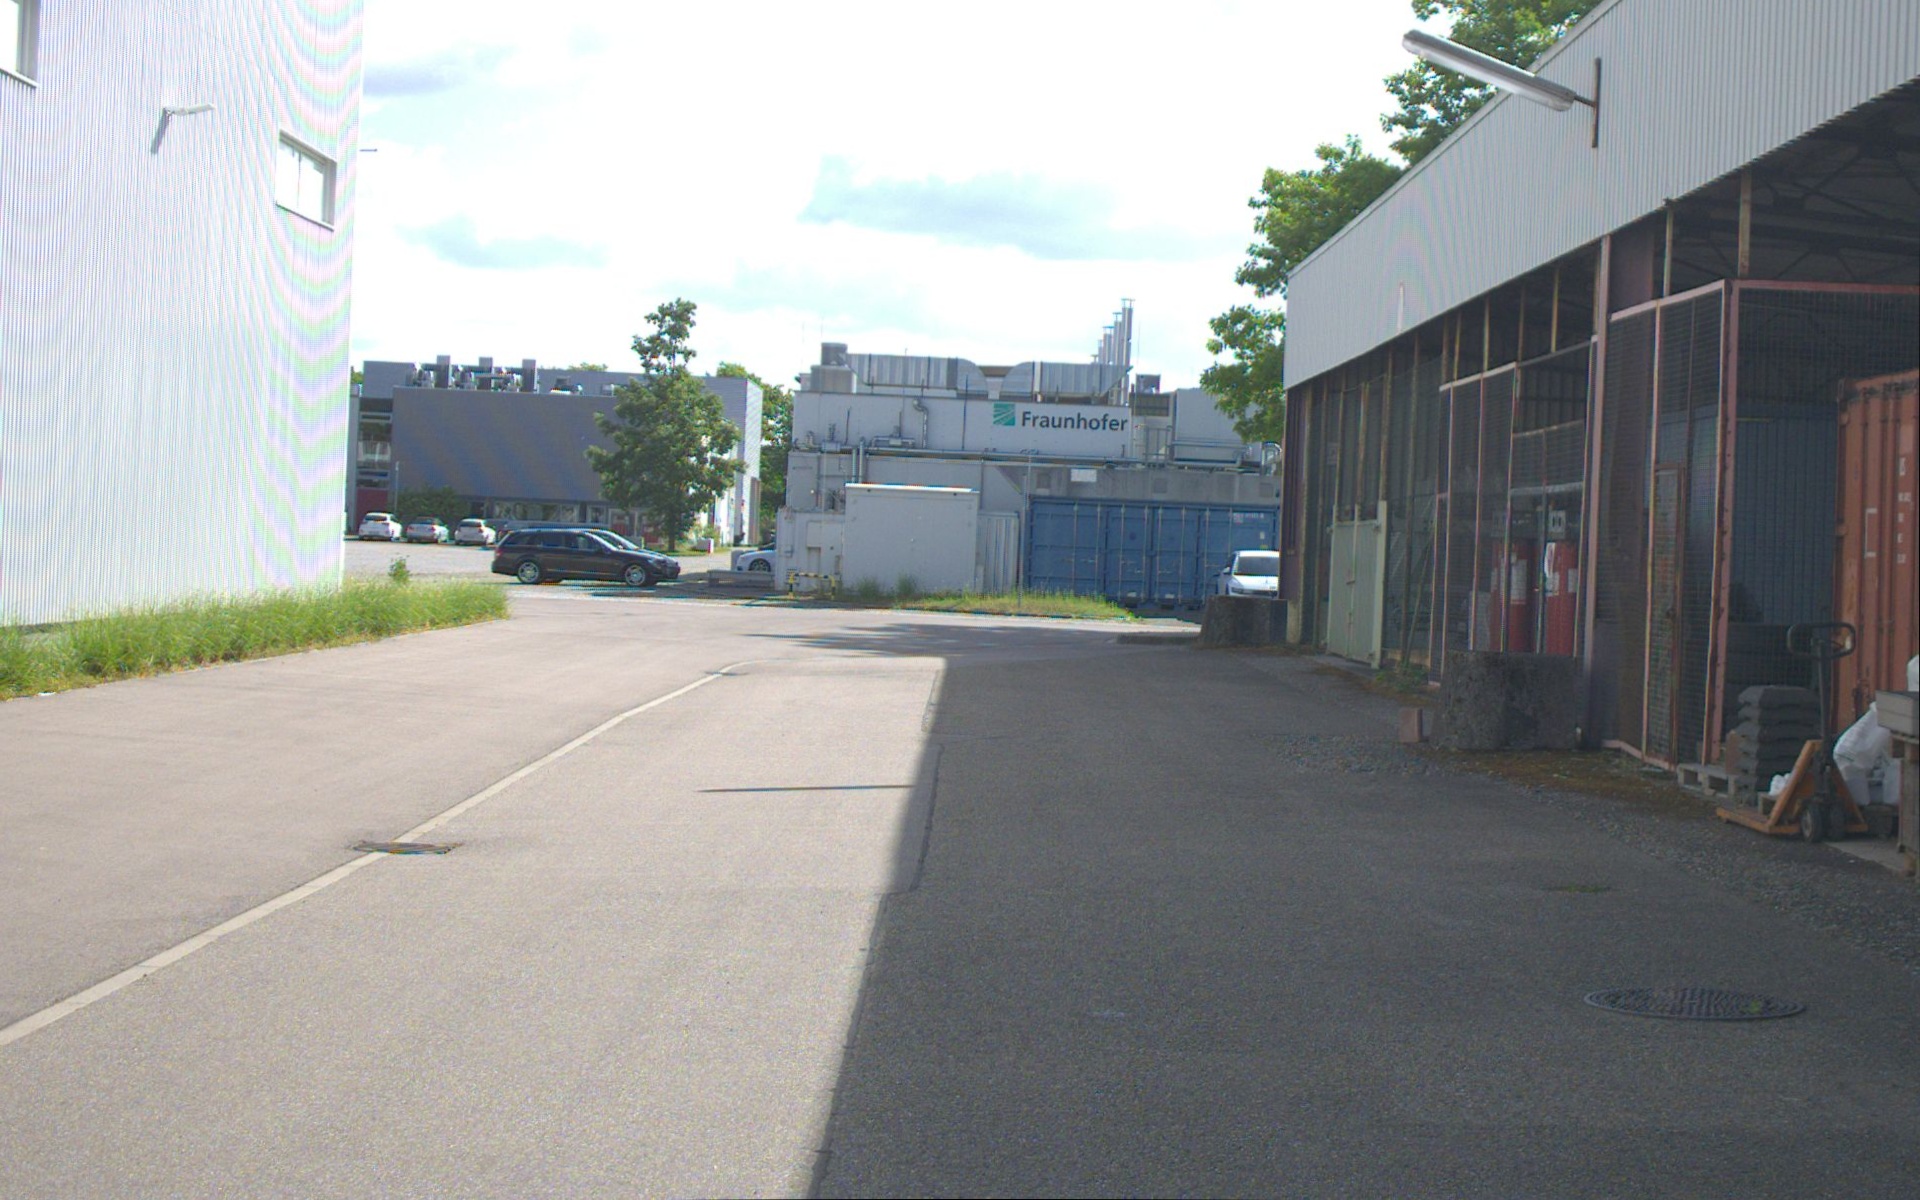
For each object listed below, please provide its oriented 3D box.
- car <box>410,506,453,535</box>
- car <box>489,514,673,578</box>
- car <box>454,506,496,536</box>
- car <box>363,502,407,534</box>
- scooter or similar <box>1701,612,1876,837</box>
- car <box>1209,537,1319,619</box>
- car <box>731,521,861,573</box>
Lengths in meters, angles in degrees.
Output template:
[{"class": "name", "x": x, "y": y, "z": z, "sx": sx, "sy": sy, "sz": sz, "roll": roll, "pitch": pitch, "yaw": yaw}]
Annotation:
[{"class": "car", "x": -28.682, "y": -4.312, "z": 186.742, "sx": 1.877, "sy": 1.532, "sz": 4.036, "roll": 1, "pitch": 1, "yaw": -2}, {"class": "car", "x": -9.892, "y": -1.412, "z": 89.859, "sx": 4.529, "sy": 1.438, "sz": 1.987, "roll": 2, "pitch": -1, "yaw": 0}, {"class": "car", "x": -26.354, "y": -4.283, "z": 186.952, "sx": 1.877, "sy": 1.532, "sz": 4.036, "roll": 1, "pitch": 1, "yaw": -2}, {"class": "car", "x": -31.248, "y": -4.425, "z": 186.906, "sx": 1.877, "sy": 1.684, "sz": 4.036, "roll": 1, "pitch": 1, "yaw": -2}, {"class": "scooter or similar", "x": 4.452, "y": 0.646, "z": 18.564, "sx": 0.520, "sy": 1.130, "sz": 1.592, "roll": 2, "pitch": 0, "yaw": 0}, {"class": "car", "x": 6.792, "y": -0.518, "z": 77.180, "sx": 1.981, "sy": 1.588, "sz": 4.341, "roll": 3, "pitch": 2, "yaw": 0}, {"class": "car", "x": -5.593, "y": -1.803, "z": 117.581, "sx": 4.279, "sy": 1.564, "sz": 1.987, "roll": 2, "pitch": -1, "yaw": 0}]
